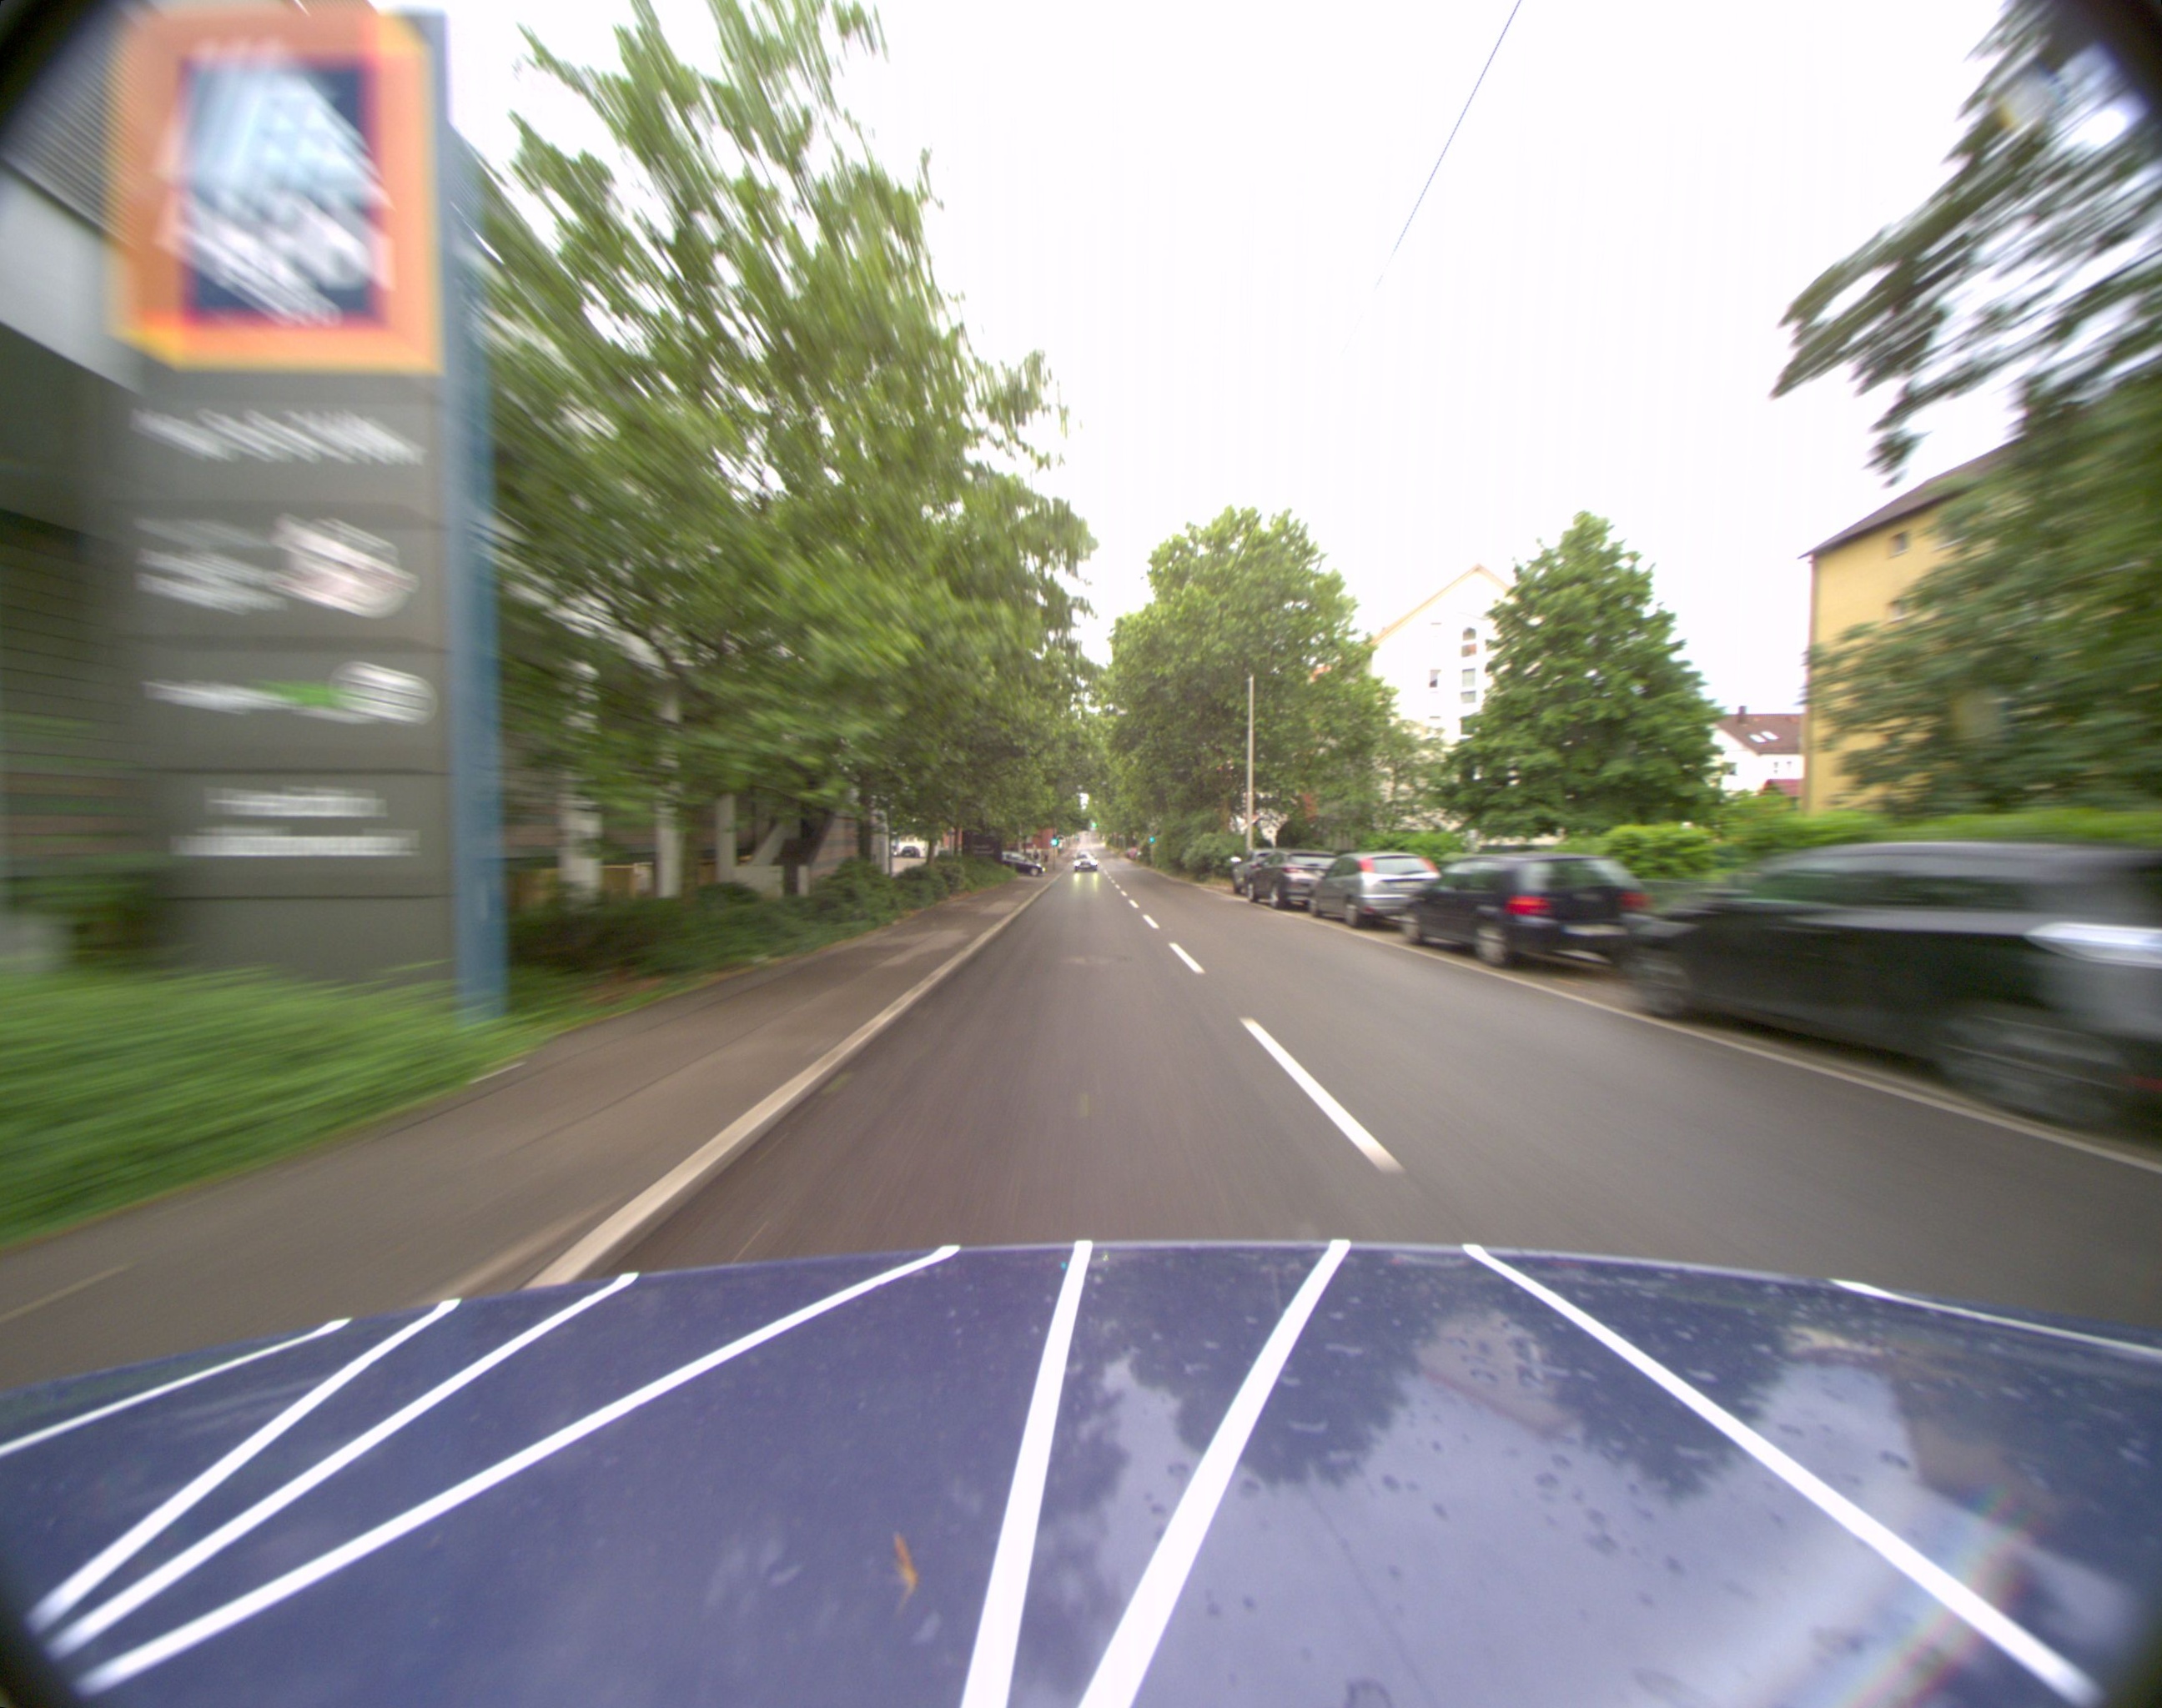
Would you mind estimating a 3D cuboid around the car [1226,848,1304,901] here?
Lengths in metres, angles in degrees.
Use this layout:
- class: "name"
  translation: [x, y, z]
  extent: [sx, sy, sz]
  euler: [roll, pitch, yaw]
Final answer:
- class: "car"
  translation: [6.461, 0.681, 27.207]
  extent: [1.738, 1.648, 4.564]
  euler: [3, 0, 2]

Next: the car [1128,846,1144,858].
- class: "car"
  translation: [7.098, -0.312, 97.874]
  extent: [1.721, 1.459, 3.754]
  euler: [-1, 1, -1]

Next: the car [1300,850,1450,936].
- class: "car"
  translation: [5.984, 0.704, 16.000]
  extent: [1.676, 1.499, 4.123]
  euler: [-2, 1, 2]

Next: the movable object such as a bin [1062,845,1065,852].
- class: "movable object such as a bin"
  translation: [-2.948, -0.971, 126.226]
  extent: [0.506, 1.109, 0.618]
  euler: [0, 2, 1]

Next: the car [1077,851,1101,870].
- class: "car"
  translation: [0.610, 0.509, 61.101]
  extent: [1.692, 1.334, 3.998]
  euler: [0, 2, -2]

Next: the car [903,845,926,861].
- class: "car"
  translation: [-20.872, -0.128, 95.339]
  extent: [1.913, 1.808, 3.996]
  euler: [-2, 2, 1]

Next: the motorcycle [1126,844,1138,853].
- class: "motorcycle"
  translation: [7.645, -0.839, 113.048]
  extent: [1.717, 1.333, 0.722]
  euler: [0, 2, 1]

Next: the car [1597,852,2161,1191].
- class: "car"
  translation: [5.802, 0.804, 5.252]
  extent: [1.652, 1.529, 4.018]
  euler: [3, 1, 0]

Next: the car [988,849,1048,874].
- class: "car"
  translation: [-4.168, 0.485, 50.285]
  extent: [3.860, 1.538, 2.025]
  euler: [0, 1, -6]

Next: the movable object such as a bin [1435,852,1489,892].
- class: "movable object such as a bin"
  translation: [13.528, 0.628, 27.042]
  extent: [1.238, 1.372, 1.480]
  euler: [-1, 1, 3]

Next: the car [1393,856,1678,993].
- class: "car"
  translation: [5.931, 0.801, 10.529]
  extent: [1.676, 1.499, 3.873]
  euler: [0, 1, 1]

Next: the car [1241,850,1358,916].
- class: "car"
  translation: [5.828, 0.703, 20.833]
  extent: [1.869, 1.582, 4.238]
  euler: [2, 1, -1]

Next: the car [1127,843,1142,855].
- class: "car"
  translation: [7.566, -0.735, 107.980]
  extent: [1.721, 1.501, 4.802]
  euler: [-1, 1, -1]

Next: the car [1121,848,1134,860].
- class: "car"
  translation: [6.514, -0.016, 105.934]
  extent: [1.559, 1.459, 3.396]
  euler: [-1, 1, -1]

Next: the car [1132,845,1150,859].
- class: "car"
  translation: [7.176, -0.258, 90.758]
  extent: [1.721, 1.459, 4.232]
  euler: [-1, 1, -1]

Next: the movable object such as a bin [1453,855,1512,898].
- class: "movable object such as a bin"
  translation: [13.461, 0.733, 25.538]
  extent: [1.238, 1.372, 1.480]
  euler: [-1, 1, 3]

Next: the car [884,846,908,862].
- class: "car"
  translation: [-23.159, -0.032, 95.374]
  extent: [1.913, 1.808, 3.996]
  euler: [-2, 2, 1]

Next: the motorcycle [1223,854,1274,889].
- class: "motorcycle"
  translation: [6.780, 0.711, 30.800]
  extent: [1.844, 1.308, 0.783]
  euler: [2, 1, 0]
